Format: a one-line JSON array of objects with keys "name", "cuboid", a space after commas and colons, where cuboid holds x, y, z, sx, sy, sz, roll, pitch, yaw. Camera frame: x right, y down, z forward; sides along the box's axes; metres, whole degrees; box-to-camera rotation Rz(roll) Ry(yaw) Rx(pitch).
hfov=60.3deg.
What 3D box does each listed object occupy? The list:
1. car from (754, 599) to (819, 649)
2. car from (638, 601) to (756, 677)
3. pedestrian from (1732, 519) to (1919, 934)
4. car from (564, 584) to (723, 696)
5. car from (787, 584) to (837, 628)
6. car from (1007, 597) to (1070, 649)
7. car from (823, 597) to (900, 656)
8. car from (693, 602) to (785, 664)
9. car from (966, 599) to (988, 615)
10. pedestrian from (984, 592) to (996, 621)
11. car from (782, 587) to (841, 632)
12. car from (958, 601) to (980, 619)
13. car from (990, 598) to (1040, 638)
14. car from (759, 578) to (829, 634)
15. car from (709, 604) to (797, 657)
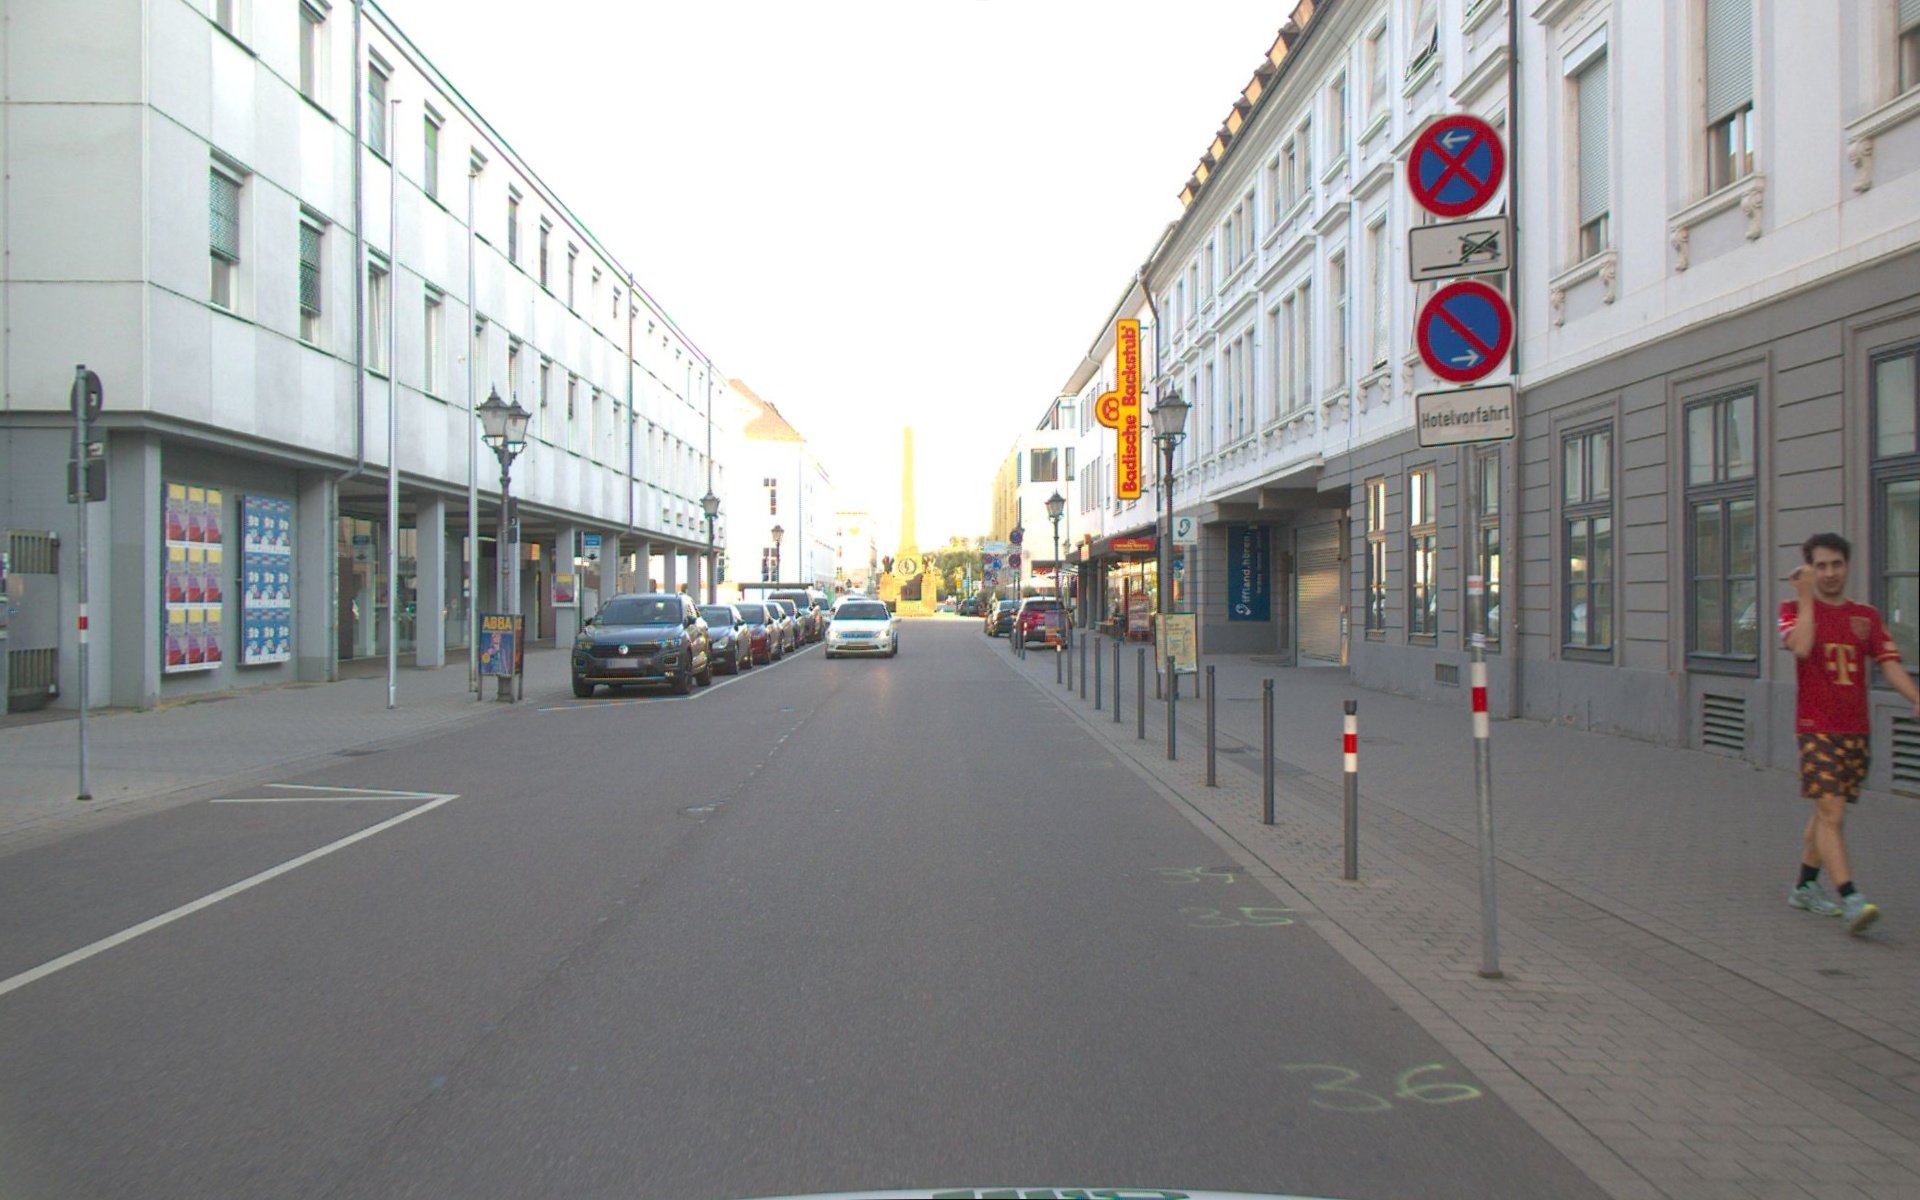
[{"name": "car", "cuboid": [-5.263, 0.695, 50.476, 1.639, 1.424, 3.999, -1, 0, -2]}, {"name": "car", "cuboid": [-5.312, 0.752, 33.886, 1.748, 1.433, 4.088, -1, 0, 0]}, {"name": "pedestrian", "cuboid": [4.127, 0.554, 7.724, 0.607, 1.821, 0.913, 0, 0, 0]}, {"name": "car", "cuboid": [-5.009, 0.595, 26.678, 1.748, 1.643, 4.165, -1, 0, 0]}, {"name": "car", "cuboid": [-6.489, 0.262, 72.197, 1.956, 1.847, 4.775, 0, 0, -8]}, {"name": "car", "cuboid": [2.386, 0.678, 50.883, 1.723, 1.550, 3.677, 0, 0, -1]}, {"name": "car", "cuboid": [-2.494, 0.645, 42.686, 1.748, 1.433, 4.088, -1, 0, 0]}, {"name": "car", "cuboid": [-5.460, 0.782, 41.269, 1.748, 1.433, 4.088, -1, 0, 0]}, {"name": "car", "cuboid": [1.600, 0.648, 154.855, 1.952, 1.489, 4.000, 0, 0, 0]}, {"name": "pedestrian", "cuboid": [1.739, 0.369, 95.741, 0.676, 1.676, 0.695, -1, 0, -2]}, {"name": "car", "cuboid": [-5.641, 0.353, 63.280, 1.953, 1.691, 3.999, 0, 0, -1]}, {"name": "car", "cuboid": [0.822, 0.884, 146.367, 1.952, 1.489, 4.000, 0, 0, 0]}, {"name": "car", "cuboid": [2.117, 0.677, 64.728, 1.765, 1.489, 4.116, 0, 0, -1]}, {"name": "car", "cuboid": [-5.607, 0.202, 56.335, 1.953, 1.758, 4.515, -2, 0, -1]}, {"name": "car", "cuboid": [-5.609, 0.794, 45.301, 1.953, 1.378, 3.999, 0, 0, -1]}]
